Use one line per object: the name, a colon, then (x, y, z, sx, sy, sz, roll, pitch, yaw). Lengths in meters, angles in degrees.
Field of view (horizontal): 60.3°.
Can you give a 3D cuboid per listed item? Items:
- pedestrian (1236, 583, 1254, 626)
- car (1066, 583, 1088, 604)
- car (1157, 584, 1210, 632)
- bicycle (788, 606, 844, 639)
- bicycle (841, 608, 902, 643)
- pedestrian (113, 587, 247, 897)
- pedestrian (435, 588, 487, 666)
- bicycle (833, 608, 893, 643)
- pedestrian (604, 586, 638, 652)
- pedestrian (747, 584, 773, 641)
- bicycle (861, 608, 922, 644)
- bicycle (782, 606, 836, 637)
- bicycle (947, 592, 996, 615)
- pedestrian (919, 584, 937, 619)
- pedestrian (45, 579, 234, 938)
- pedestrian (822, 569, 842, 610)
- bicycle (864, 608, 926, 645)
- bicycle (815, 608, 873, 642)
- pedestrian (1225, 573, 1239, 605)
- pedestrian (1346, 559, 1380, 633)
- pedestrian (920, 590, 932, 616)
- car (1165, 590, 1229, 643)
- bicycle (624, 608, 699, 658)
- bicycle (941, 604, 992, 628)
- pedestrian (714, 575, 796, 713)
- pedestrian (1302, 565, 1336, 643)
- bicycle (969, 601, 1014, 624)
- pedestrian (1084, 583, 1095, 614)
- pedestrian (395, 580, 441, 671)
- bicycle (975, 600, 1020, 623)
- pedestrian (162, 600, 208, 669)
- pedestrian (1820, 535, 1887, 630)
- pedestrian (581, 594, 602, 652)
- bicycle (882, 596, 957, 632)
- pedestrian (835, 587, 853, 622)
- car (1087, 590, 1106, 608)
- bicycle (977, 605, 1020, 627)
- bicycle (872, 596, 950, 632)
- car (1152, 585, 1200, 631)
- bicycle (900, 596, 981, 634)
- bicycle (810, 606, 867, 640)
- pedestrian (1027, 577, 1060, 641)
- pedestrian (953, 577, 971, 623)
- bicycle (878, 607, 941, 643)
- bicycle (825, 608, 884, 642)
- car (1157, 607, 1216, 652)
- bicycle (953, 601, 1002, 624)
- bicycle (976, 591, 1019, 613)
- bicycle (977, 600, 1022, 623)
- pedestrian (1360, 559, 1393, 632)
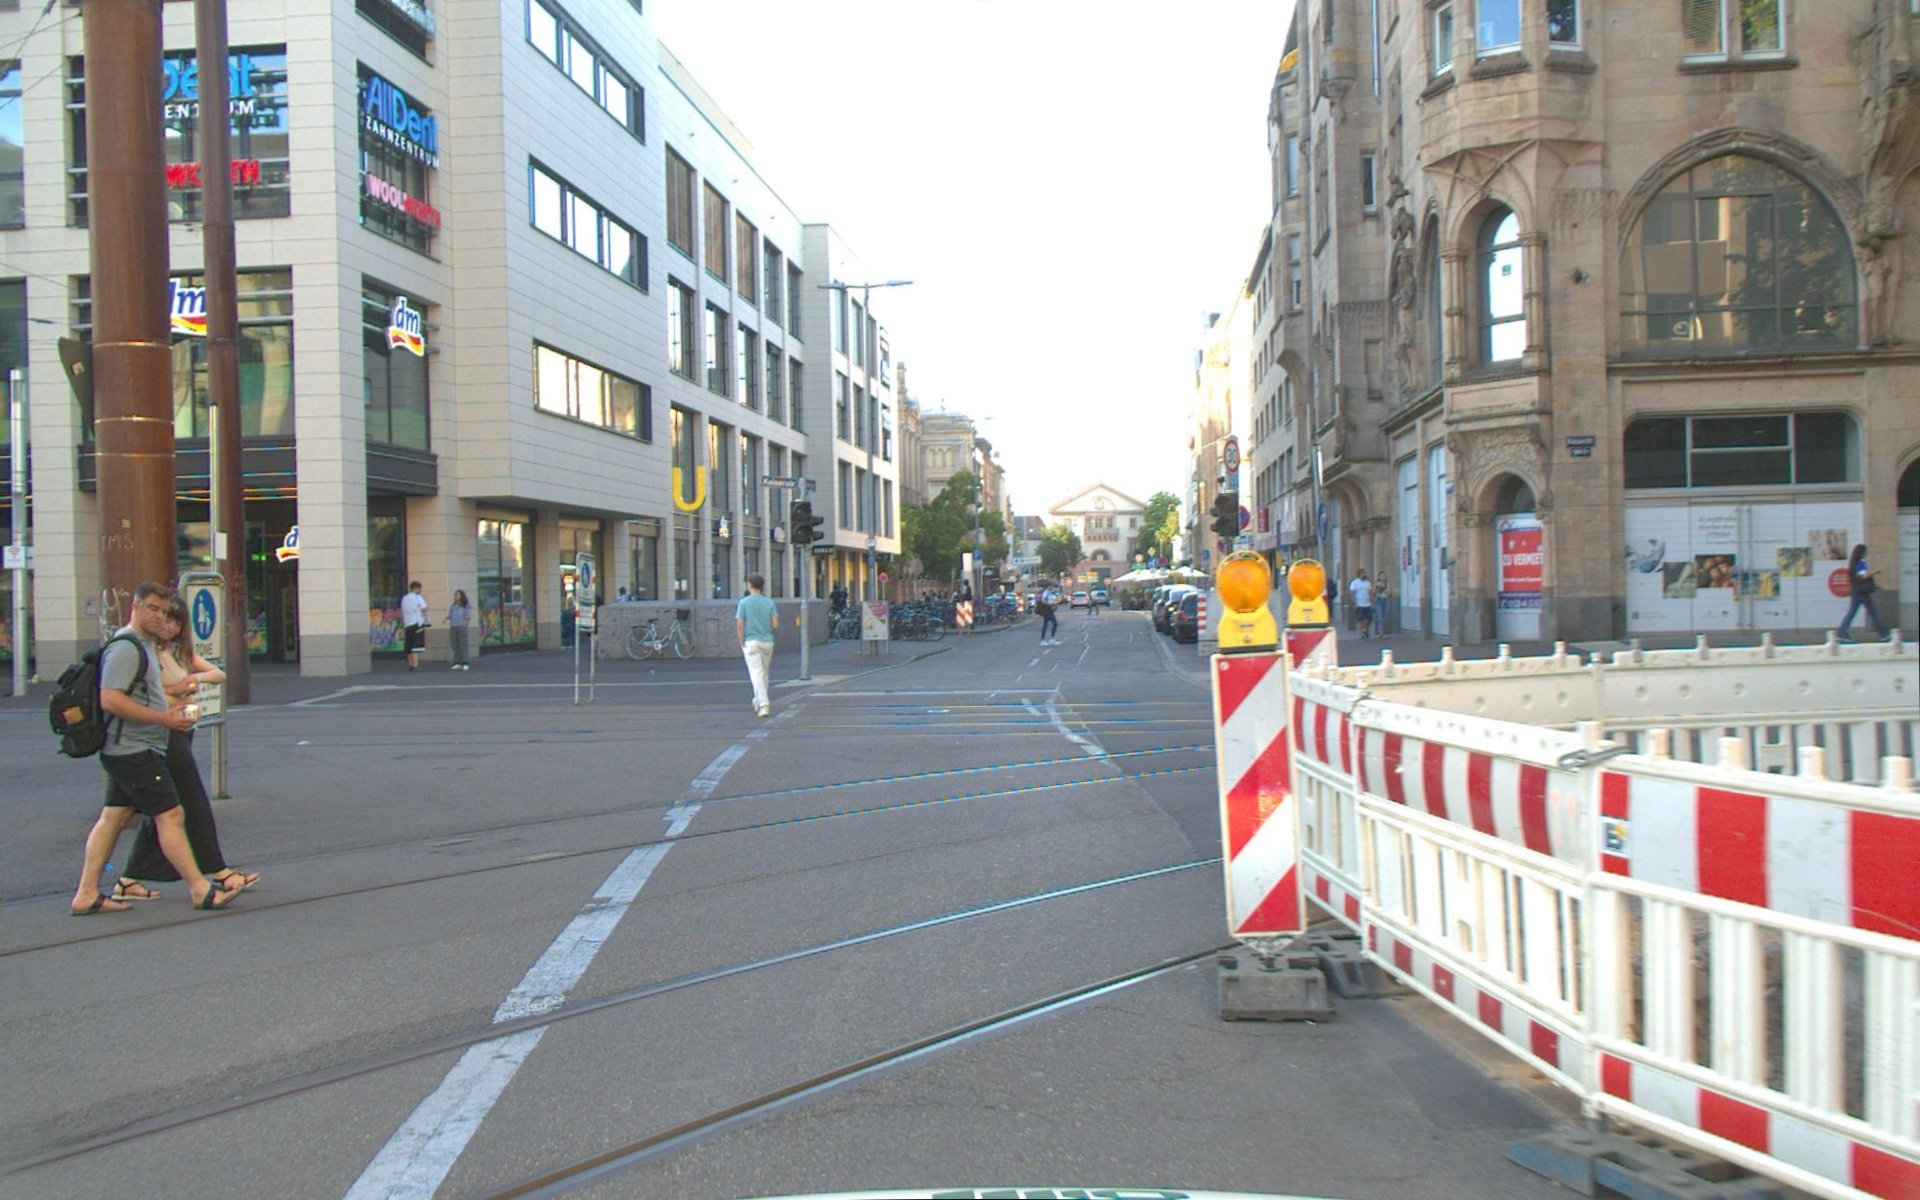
pedestrian: (11.672, 0.173, 67.746, 0.630, 1.719, 0.671, -2, 0, 4)
car: (11.032, -0.637, 156.072, 1.951, 1.937, 4.002, 0, 0, 5)
car: (7.877, 0.283, 58.571, 1.643, 1.574, 3.675, -3, 0, 5)
bicycle: (-5.124, 0.794, 58.876, 1.941, 1.141, 0.554, 0, 0, -24)
bicycle: (-2.927, 0.850, 54.831, 1.941, 1.141, 0.554, 0, 0, -24)
pedestrian: (-4.240, 0.748, 9.016, 0.560, 1.621, 0.446, -1, 0, -17)
pedestrian: (-10.855, 0.578, 36.011, 0.750, 1.688, 0.816, 0, 0, 19)
bicycle: (-3.261, 0.851, 55.508, 1.941, 1.141, 0.554, 0, 0, -24)
pedestrian: (-9.144, 0.503, 44.661, 0.765, 1.782, 0.600, 0, 0, 3)
pedestrian: (-6.024, 0.369, 49.783, 0.666, 1.710, 0.600, 0, 0, 3)
bicycle: (-2.221, 0.849, 53.905, 1.941, 1.141, 0.554, 0, 0, -24)
bicycle: (-5.577, 0.794, 61.032, 1.941, 1.141, 0.554, 0, 0, -24)
bicycle: (0.504, 0.152, 73.504, 2.102, 0.970, 0.641, -2, 0, 7)
pedestrian: (-1.461, 0.061, 75.583, 0.735, 1.556, 0.485, -2, 0, 5)
pedestrian: (-4.164, 0.771, 8.438, 0.732, 1.730, 0.607, -1, 0, -17)
pedestrian: (-5.282, -0.427, 68.258, 0.665, 1.649, 0.574, -2, 0, 5)
bicycle: (-2.097, 0.849, 53.172, 1.941, 1.141, 0.554, 0, 0, -24)
bicycle: (-3.980, 0.852, 56.815, 1.941, 1.141, 0.554, 0, 0, -24)
pedestrian: (15.277, -0.640, 92.875, 0.630, 1.776, 0.671, -2, 0, 4)
pedestrian: (9.529, -0.090, 39.109, 0.612, 1.719, 0.671, -2, 0, 4)
pedestrian: (-2.180, 0.177, 104.865, 0.665, 1.649, 0.574, -2, 0, 5)
car: (6.841, 0.462, 48.062, 1.643, 1.449, 3.675, 1, 0, 5)
bicycle: (-6.969, 0.766, 38.575, 1.660, 1.141, 0.451, 0, 0, 8)
bicycle: (0.285, 0.707, 71.478, 2.102, 0.970, 0.641, -2, 0, 7)
pedestrian: (-2.724, 0.577, 22.027, 0.847, 1.792, 0.768, 0, 0, 17)
pedestrian: (8.028, 0.091, 36.983, 0.612, 1.719, 0.671, -2, 0, 4)
bicycle: (1.508, 0.580, 79.280, 2.102, 1.047, 0.641, -2, 0, 7)
pedestrian: (7.715, -0.082, 98.515, 0.586, 1.855, 0.452, -2, 0, 0)
pedestrian: (-11.386, 0.533, 34.754, 0.561, 1.887, 0.817, 0, 0, 17)
bicycle: (1.826, 0.579, 80.778, 2.102, 1.047, 0.641, -2, 0, 7)
pedestrian: (-17.621, 0.782, 37.625, 0.561, 1.553, 0.791, 0, 0, 17)
pedestrian: (15.617, -0.306, 28.919, 0.802, 1.639, 0.714, 0, 0, 5)
pedestrian: (-9.835, 0.608, 44.173, 0.381, 1.541, 0.506, -1, 0, 4)
bicycle: (-1.586, 0.543, 64.890, 2.845, 1.277, 0.799, -2, 0, -21)
pedestrian: (-5.683, 0.220, 80.954, 0.715, 1.649, 0.662, -2, 0, 5)
car: (14.645, -0.118, 176.982, 1.951, 1.937, 4.002, 0, 0, 5)
bicycle: (1.962, 0.810, 83.635, 2.102, 1.047, 0.641, -2, 0, 7)
bicycle: (-1.876, 0.545, 63.436, 2.845, 1.277, 0.799, -2, 0, -21)
car: (8.416, 0.305, 64.629, 1.643, 1.641, 4.031, -3, 0, 5)
bicycle: (-0.709, 0.543, 60.036, 2.845, 1.277, 0.799, -2, 0, -21)
bicycle: (-4.243, 0.792, 57.739, 1.941, 1.141, 0.554, 0, 0, -24)
pedestrian: (2.342, 0.256, 46.270, 0.817, 1.751, 0.681, -2, 0, -2)
pedestrian: (0.081, 0.003, 67.718, 0.644, 1.855, 0.527, -1, 0, -5)
bicycle: (-1.586, 0.785, 52.369, 1.941, 1.141, 0.554, 0, 0, -24)
bicycle: (-3.592, 0.851, 56.171, 1.941, 1.141, 0.554, 0, 0, -24)
car: (7.290, 0.916, 53.414, 1.643, 1.313, 4.049, -3, 0, 5)
bicycle: (0.798, 0.579, 74.389, 2.102, 0.970, 0.641, -2, 0, 7)
bicycle: (1.882, 0.103, 82.870, 2.102, 1.047, 0.641, -2, 0, 7)
bicycle: (1.920, 0.579, 80.036, 2.102, 1.047, 0.641, -2, 0, 7)
pedestrian: (10.006, -0.098, 39.737, 0.612, 1.719, 0.626, -2, 0, 4)
